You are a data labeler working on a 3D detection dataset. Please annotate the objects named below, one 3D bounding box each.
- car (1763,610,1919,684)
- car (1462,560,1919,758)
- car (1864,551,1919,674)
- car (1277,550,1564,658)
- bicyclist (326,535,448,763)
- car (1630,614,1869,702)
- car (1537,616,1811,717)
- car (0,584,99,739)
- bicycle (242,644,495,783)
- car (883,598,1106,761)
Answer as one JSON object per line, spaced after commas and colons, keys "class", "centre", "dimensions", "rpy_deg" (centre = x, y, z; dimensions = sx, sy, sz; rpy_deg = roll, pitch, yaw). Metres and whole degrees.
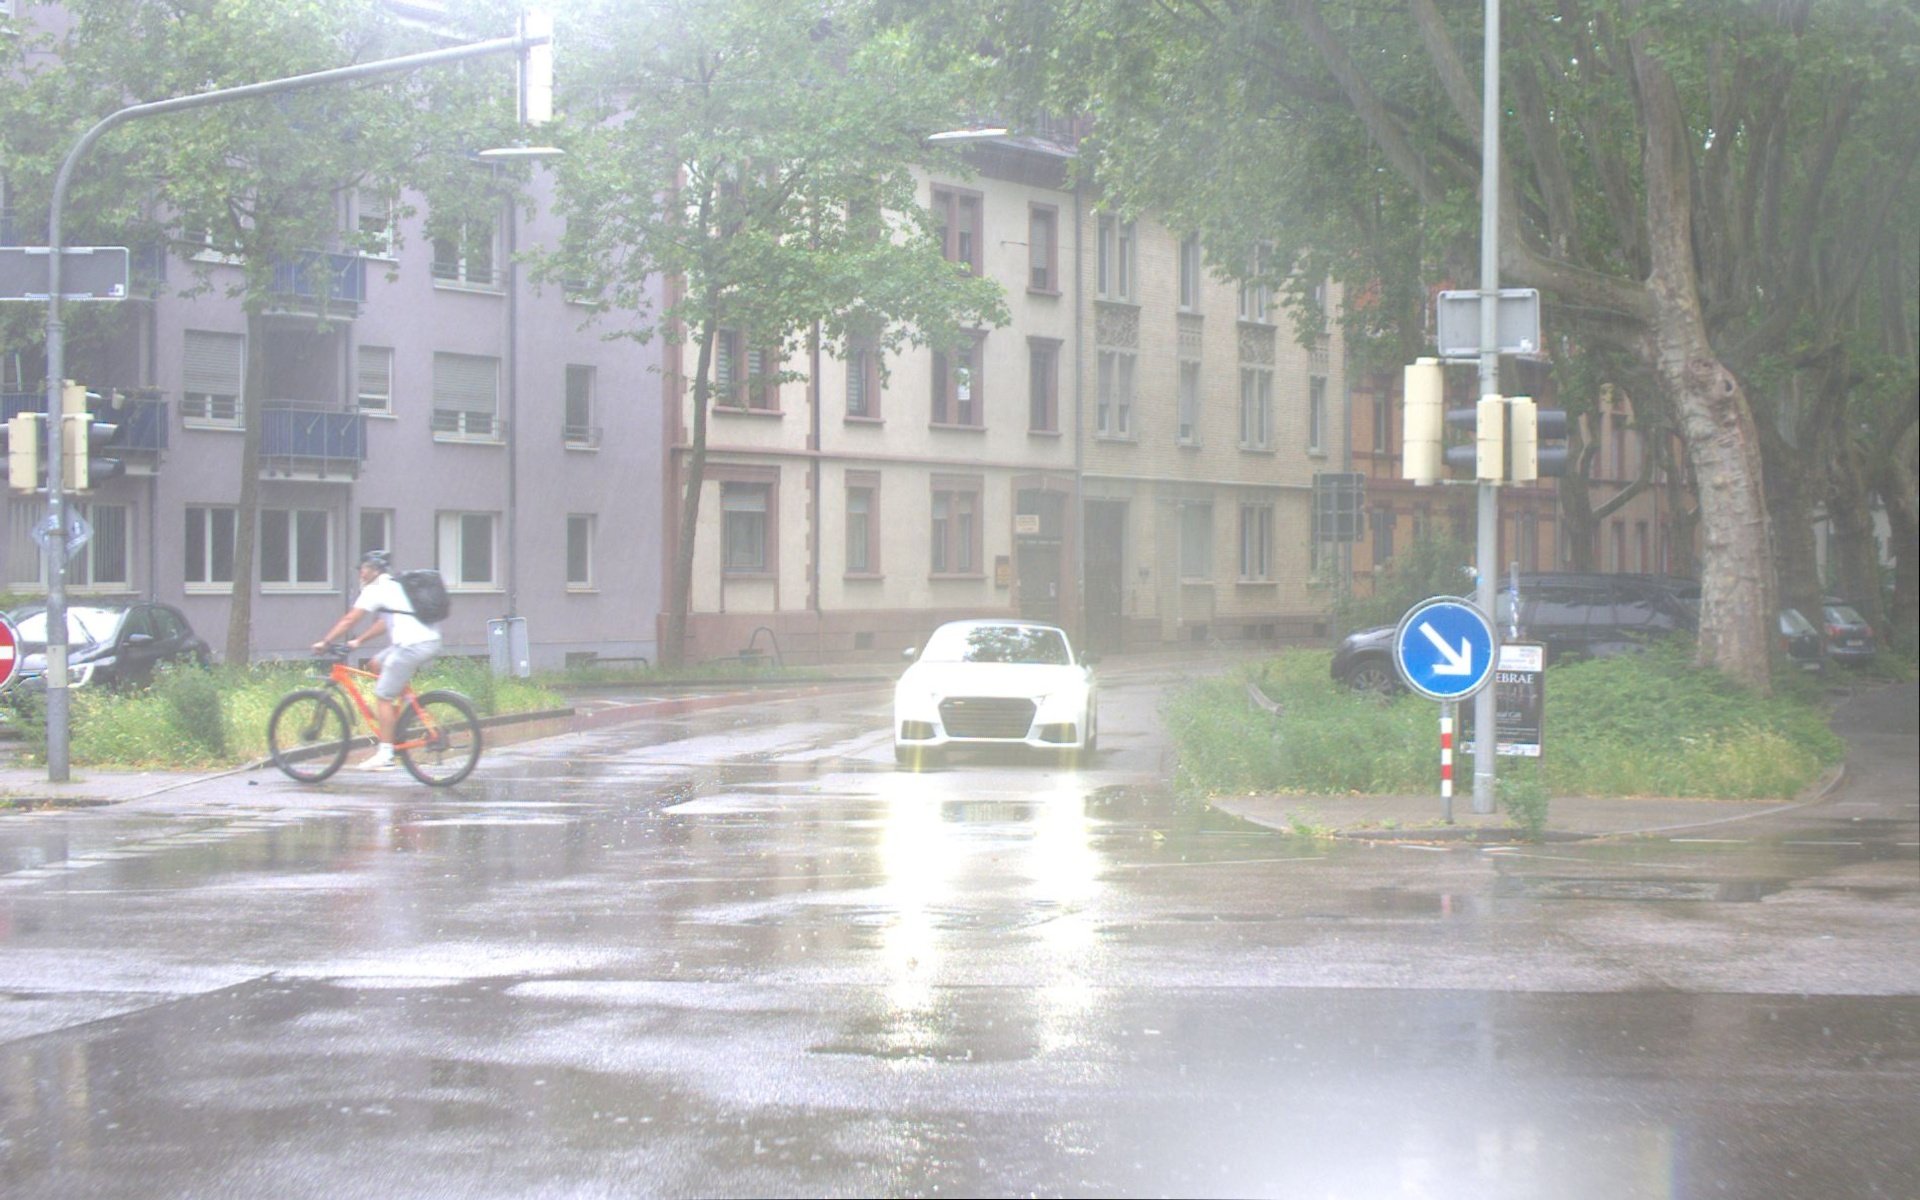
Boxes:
{"class": "car", "centre": [19.138, 0.978, 73.068], "dimensions": [3.989, 1.542, 1.999], "rpy_deg": [0, 0, 12]}
{"class": "car", "centre": [6.023, 0.444, 27.037], "dimensions": [3.989, 1.481, 1.999], "rpy_deg": [0, 0, 12]}
{"class": "car", "centre": [23.891, 0.292, 82.169], "dimensions": [2.033, 2.938, 4.773], "rpy_deg": [0, 0, -21]}
{"class": "car", "centre": [6.467, 0.056, 48.183], "dimensions": [3.868, 1.481, 1.715], "rpy_deg": [0, 0, 12]}
{"class": "bicyclist", "centre": [-4.545, 0.383, 27.300], "dimensions": [0.795, 1.780, 0.697], "rpy_deg": [0, 0, 7]}
{"class": "car", "centre": [13.756, 0.993, 60.026], "dimensions": [3.989, 1.481, 1.999], "rpy_deg": [0, 0, 12]}
{"class": "car", "centre": [10.811, 0.983, 52.125], "dimensions": [3.989, 1.481, 1.999], "rpy_deg": [0, 0, 12]}
{"class": "car", "centre": [-10.247, 0.594, 35.725], "dimensions": [1.751, 1.506, 3.839], "rpy_deg": [0, 0, -2]}
{"class": "bicycle", "centre": [-4.694, 0.891, 27.319], "dimensions": [1.873, 1.077, 0.657], "rpy_deg": [0, 0, 7]}
{"class": "car", "centre": [0.397, 0.726, 33.456], "dimensions": [1.885, 1.431, 3.999], "rpy_deg": [0, 1, 5]}
